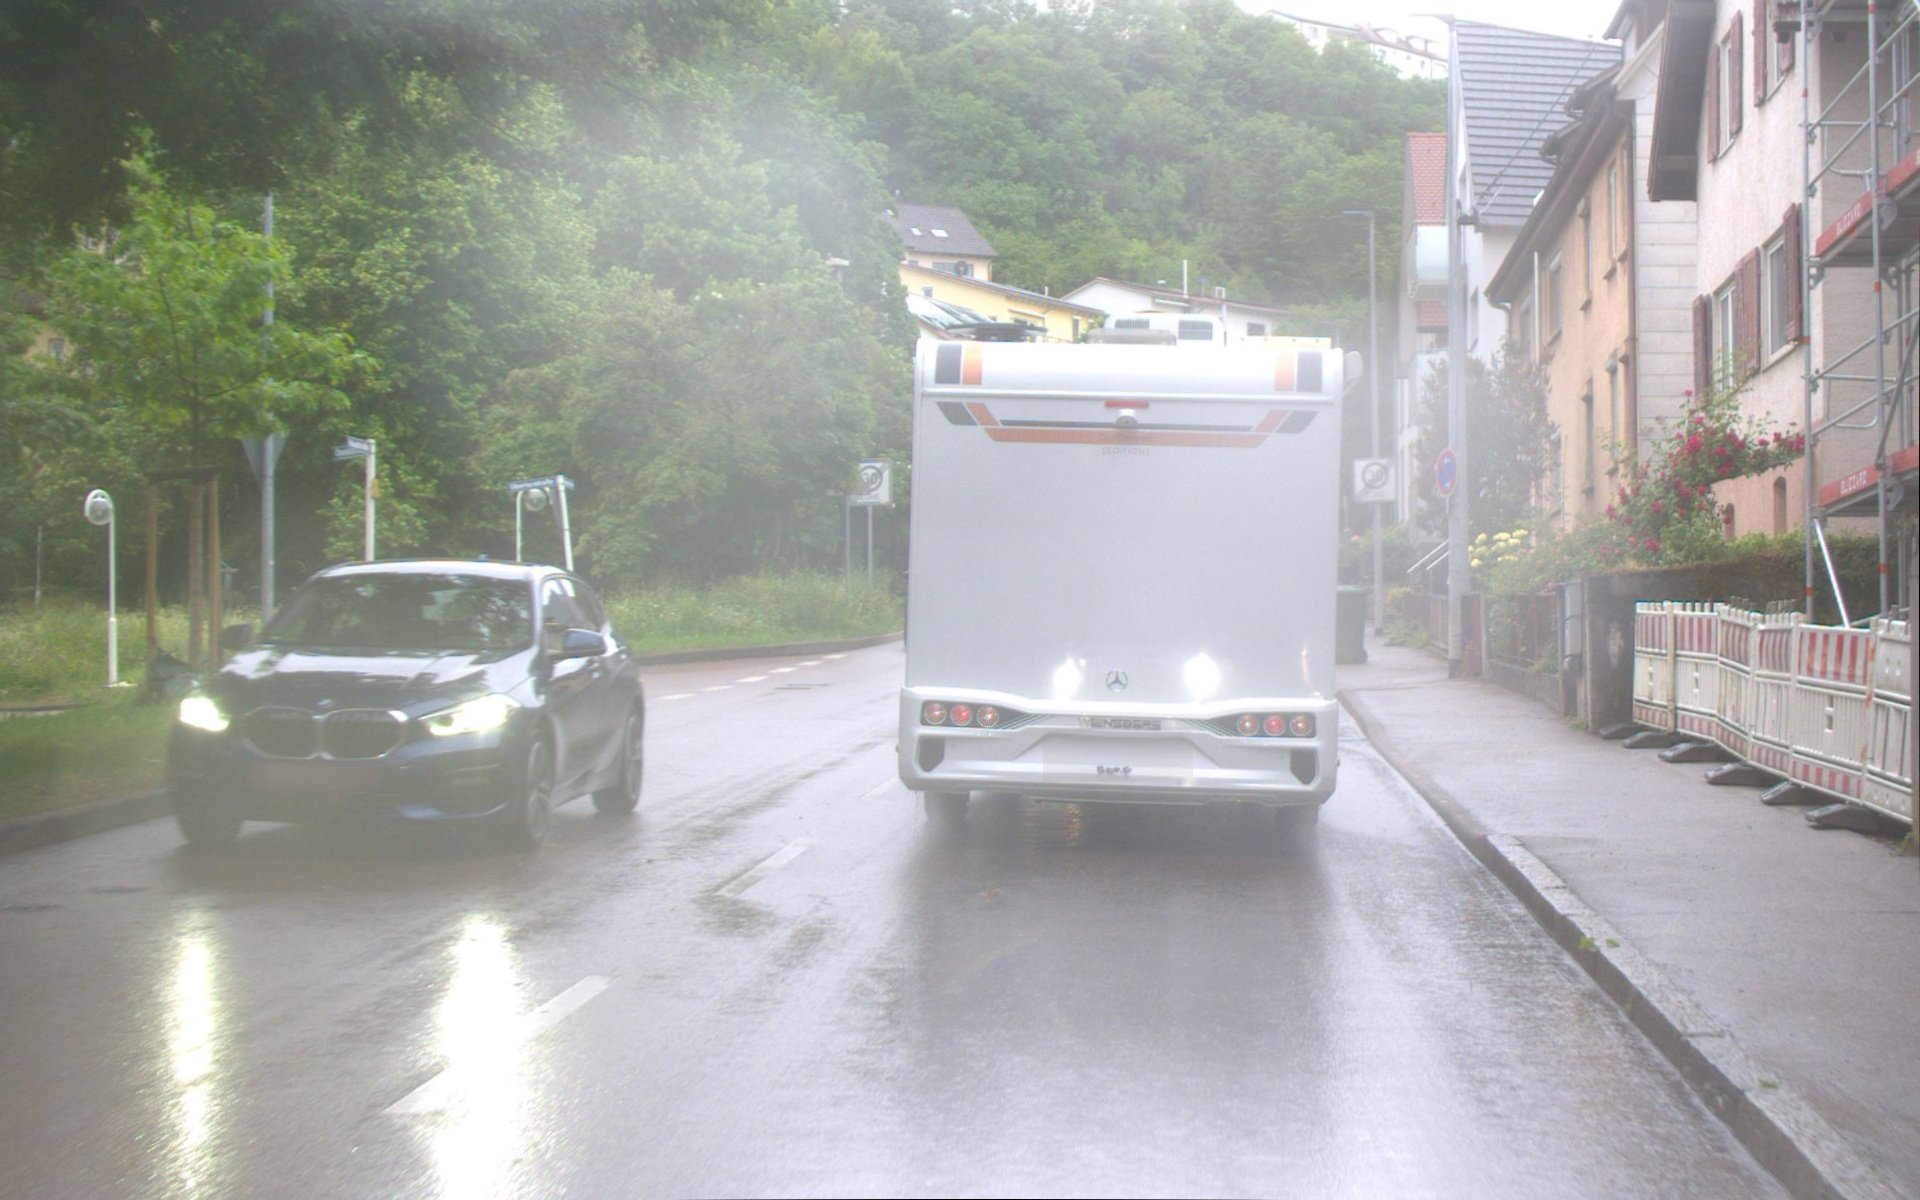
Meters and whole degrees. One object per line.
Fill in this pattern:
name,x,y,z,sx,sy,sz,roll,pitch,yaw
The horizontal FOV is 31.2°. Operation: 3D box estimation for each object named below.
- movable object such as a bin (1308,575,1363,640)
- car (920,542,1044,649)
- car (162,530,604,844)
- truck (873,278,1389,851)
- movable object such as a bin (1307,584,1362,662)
movable object such as a bin,6.525,0.124,59.715,0.914,1.099,0.702,1,1,7
car,0.401,-0.094,57.077,1.751,1.683,4.375,1,1,4
car,-2.919,0.382,18.177,1.765,1.436,4.064,1,1,-2
truck,1.059,-0.215,20.284,2.516,2.808,6.201,1,1,4
movable object such as a bin,5.231,0.315,47.991,0.720,1.048,0.800,1,1,8
